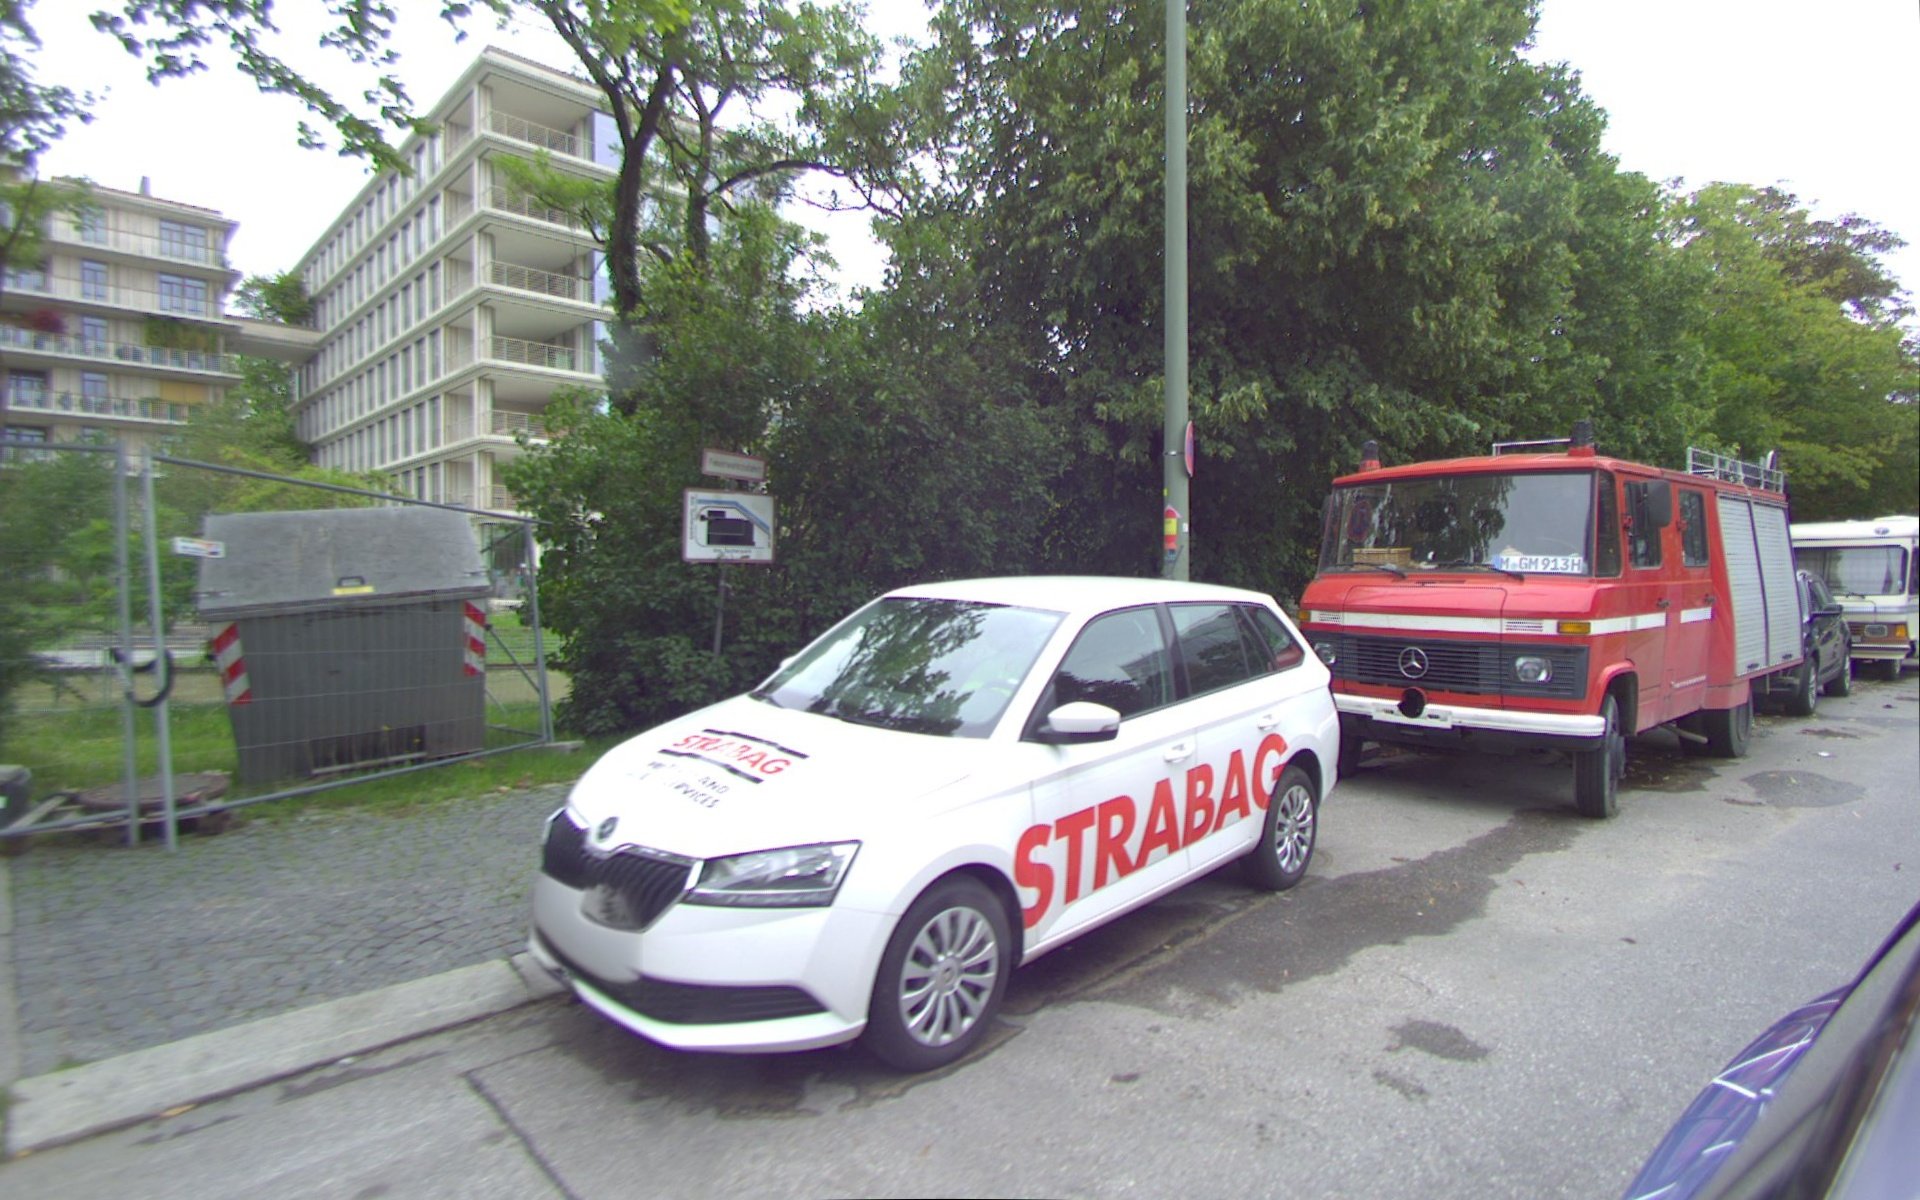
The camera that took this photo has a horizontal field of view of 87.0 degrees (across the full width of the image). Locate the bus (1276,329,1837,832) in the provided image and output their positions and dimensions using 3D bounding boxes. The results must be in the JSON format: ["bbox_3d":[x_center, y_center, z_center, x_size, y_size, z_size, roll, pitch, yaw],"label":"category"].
[{"bbox_3d":[5.319,-0.167,8.490,6.160,2.840,2.077,-1,1,-40],"label":"bus"}]

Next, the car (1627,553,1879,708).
[{"bbox_3d":[10.244,0.293,12.956,4.321,1.660,1.781,0,1,-42],"label":"car"}]

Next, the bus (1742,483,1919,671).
[{"bbox_3d":[15.746,-0.390,17.342,5.755,2.764,2.080,-1,1,-35],"label":"bus"}]

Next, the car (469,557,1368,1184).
[{"bbox_3d":[0.233,0.577,4.418,1.532,1.510,3.998,1,3,43],"label":"car"}]
